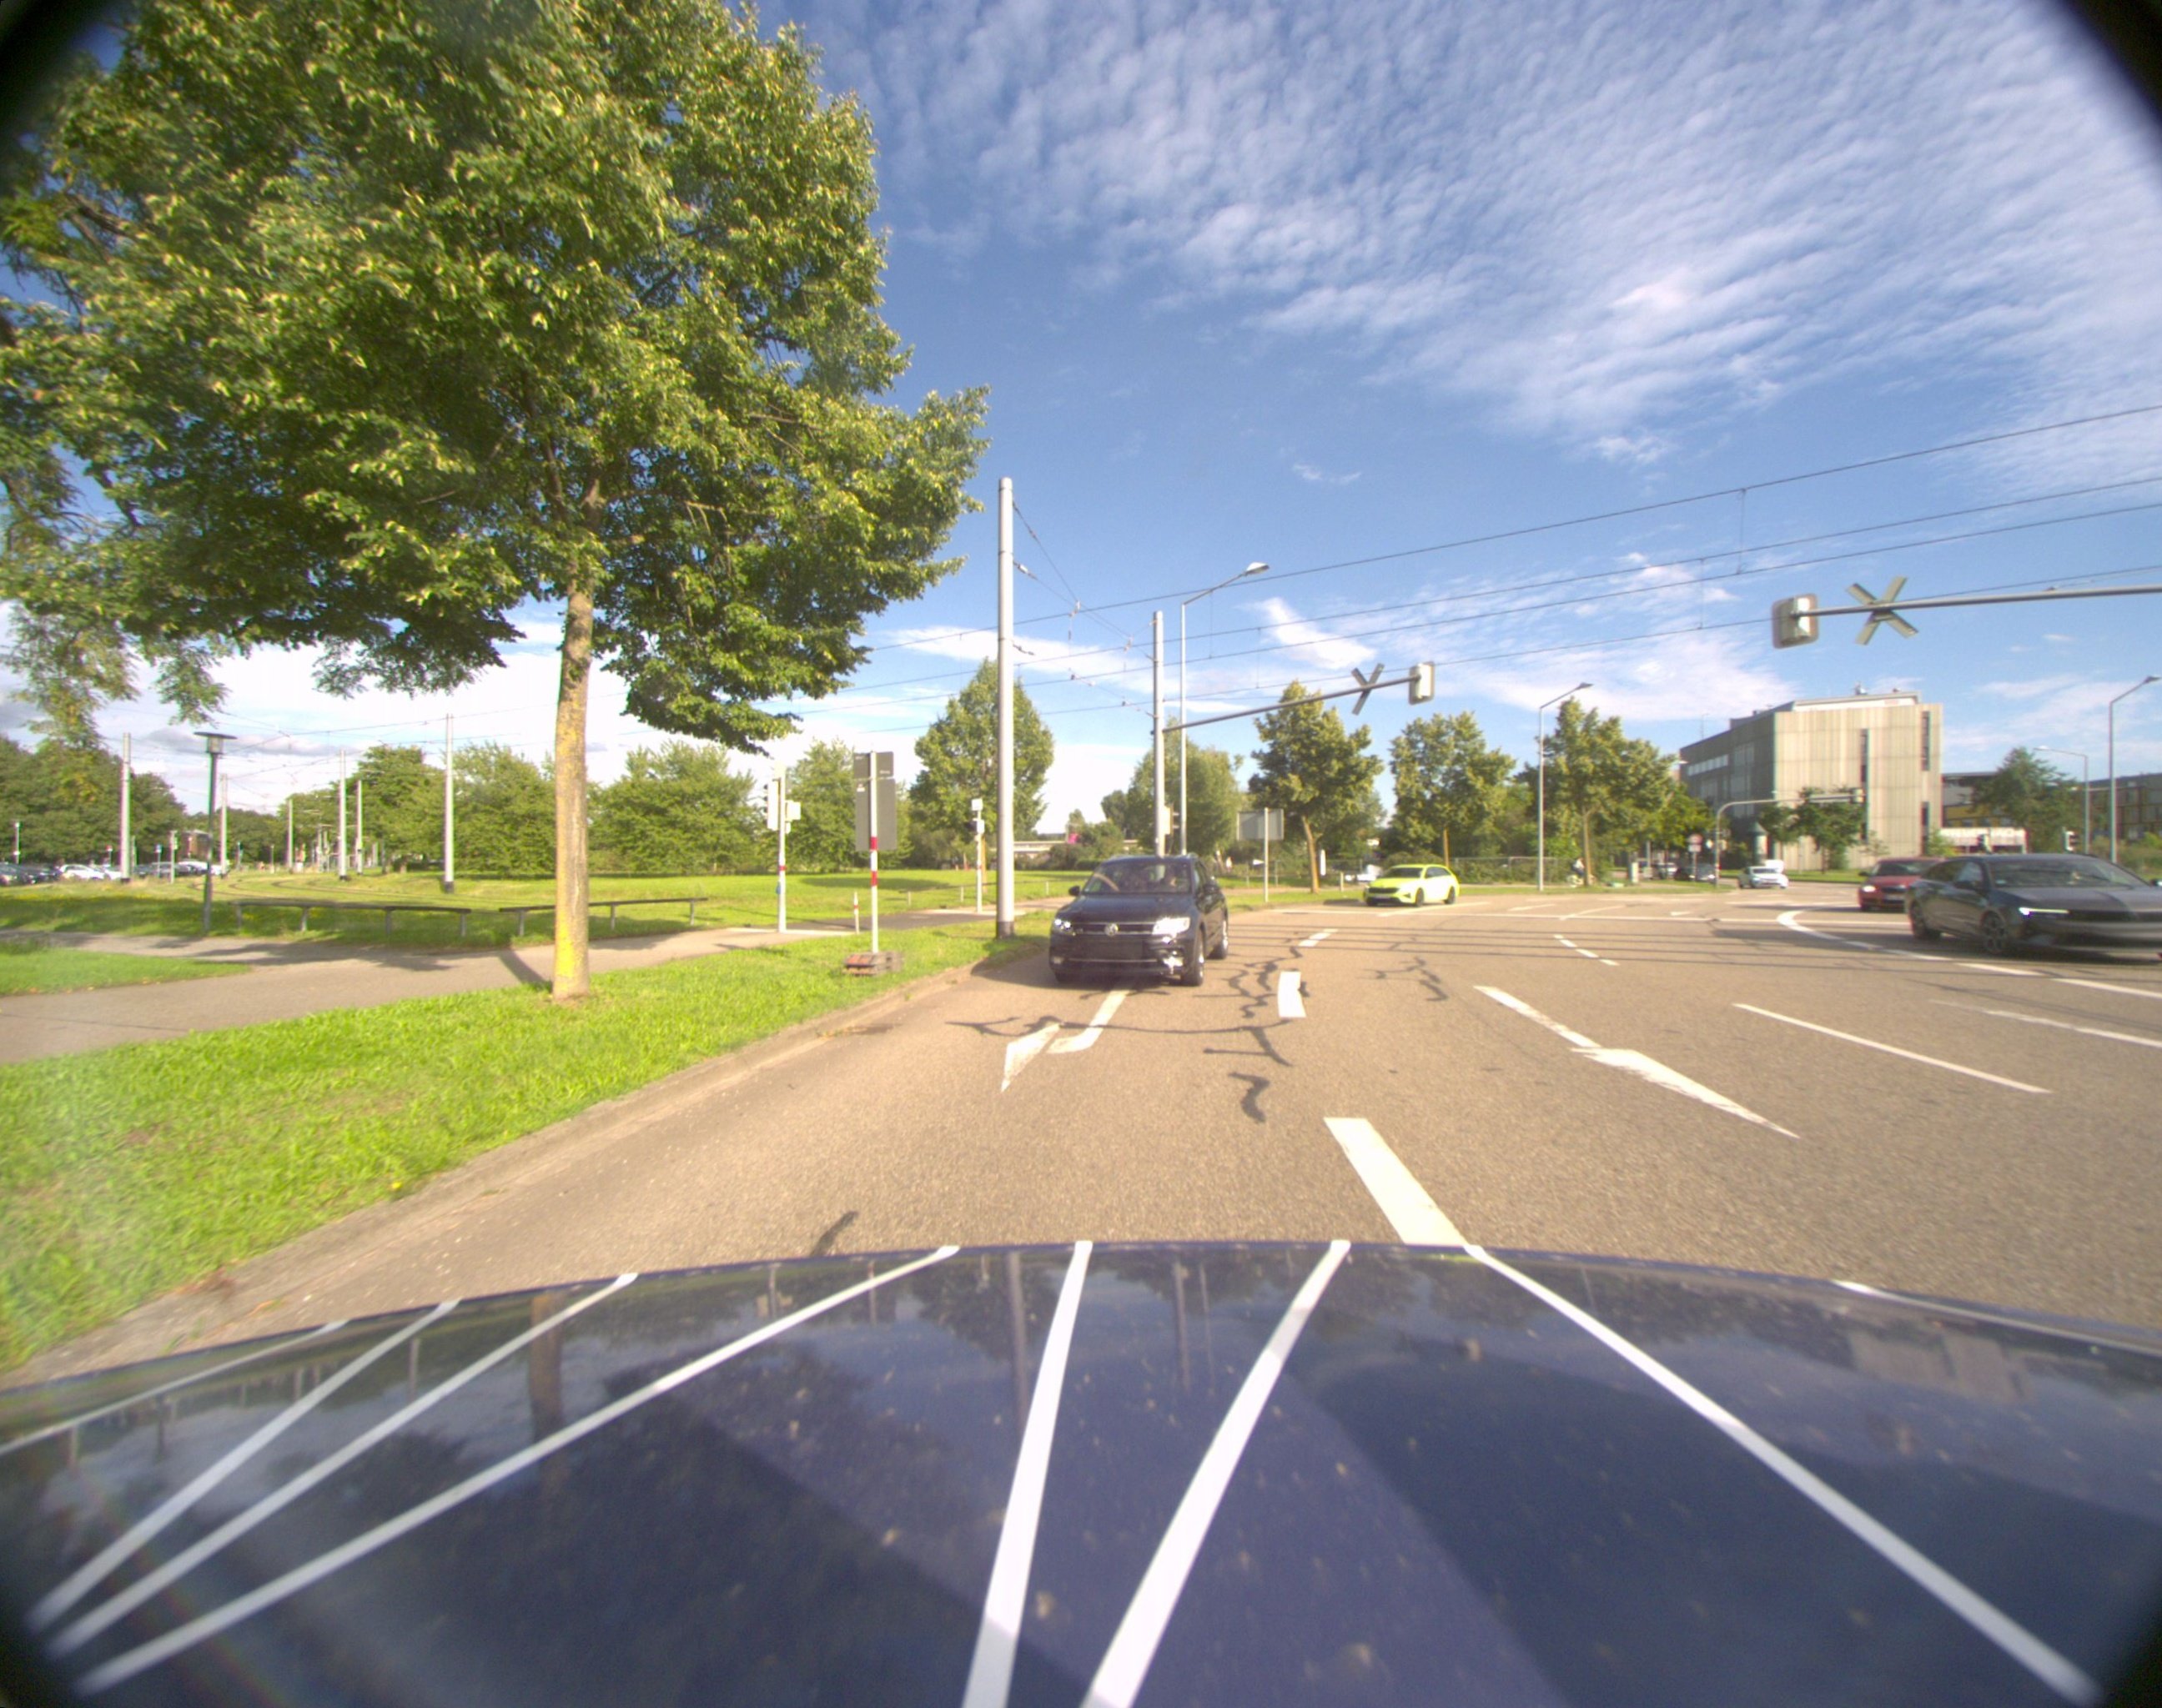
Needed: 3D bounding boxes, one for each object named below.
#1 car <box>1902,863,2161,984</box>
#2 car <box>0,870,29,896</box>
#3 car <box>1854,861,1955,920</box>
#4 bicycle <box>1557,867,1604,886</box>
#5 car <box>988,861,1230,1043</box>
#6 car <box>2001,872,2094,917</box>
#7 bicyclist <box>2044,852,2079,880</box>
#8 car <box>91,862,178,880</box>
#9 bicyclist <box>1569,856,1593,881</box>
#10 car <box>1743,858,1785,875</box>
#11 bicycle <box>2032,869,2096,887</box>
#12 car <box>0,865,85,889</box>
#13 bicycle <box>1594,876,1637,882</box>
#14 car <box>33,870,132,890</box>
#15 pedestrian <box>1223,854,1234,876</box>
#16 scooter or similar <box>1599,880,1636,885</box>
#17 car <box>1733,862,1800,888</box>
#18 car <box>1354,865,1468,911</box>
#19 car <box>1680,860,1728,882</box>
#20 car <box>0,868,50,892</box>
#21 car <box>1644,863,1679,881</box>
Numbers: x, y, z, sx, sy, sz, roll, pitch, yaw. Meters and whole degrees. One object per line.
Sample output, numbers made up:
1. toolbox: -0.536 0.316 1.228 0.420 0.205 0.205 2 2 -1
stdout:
1. car: 14.218 0.884 11.299 1.819 1.412 4.456 -2 -1 35
2. car: -65.592 1.737 44.378 4.477 1.532 1.854 0 0 -34
3. car: 22.552 0.915 20.928 1.690 1.466 4.236 0 -1 45
4. bicycle: 30.503 1.338 46.401 2.602 1.119 0.803 0 0 -12
5. car: 0.701 0.964 9.925 1.869 1.685 5.022 0 0 18
6. car: 33.846 1.365 26.709 4.236 1.466 1.690 2 -2 -43
7. bicyclist: 55.101 0.648 42.699 0.863 1.546 0.999 0 0 26
8. car: -84.518 1.526 67.958 4.475 1.532 1.855 0 0 -27
9. bicyclist: 30.531 0.881 46.401 0.905 1.538 0.803 0 0 -12
10. car: 79.199 1.428 88.178 1.682 1.814 4.567 2 0 15
11. bicycle: 55.181 1.329 42.660 1.956 1.001 1.004 0 0 26
12. car: -71.563 1.526 51.556 4.477 1.532 1.854 0 0 -34
13. bicycle: 36.544 1.691 51.996 1.091 0.344 2.249 0 -3 -12
14. car: -79.650 2.043 60.728 4.478 1.467 1.794 0 0 -37
15. pedestrian: 11.676 0.902 60.059 0.595 1.722 0.669 0 1 44
16. scooter or similar: 34.941 1.863 49.500 1.553 0.279 1.293 0 0 -3
17. car: 45.844 1.358 50.933 1.995 1.652 4.812 0 0 25
18. car: 11.682 1.143 26.771 4.617 1.412 1.892 -1 -1 -42
19. car: 51.532 1.387 62.966 1.995 1.652 4.812 0 0 26
20. car: -68.230 1.666 47.280 4.477 1.445 1.854 0 0 -34
21. car: 57.853 1.748 75.831 1.995 1.652 4.812 0 0 28
